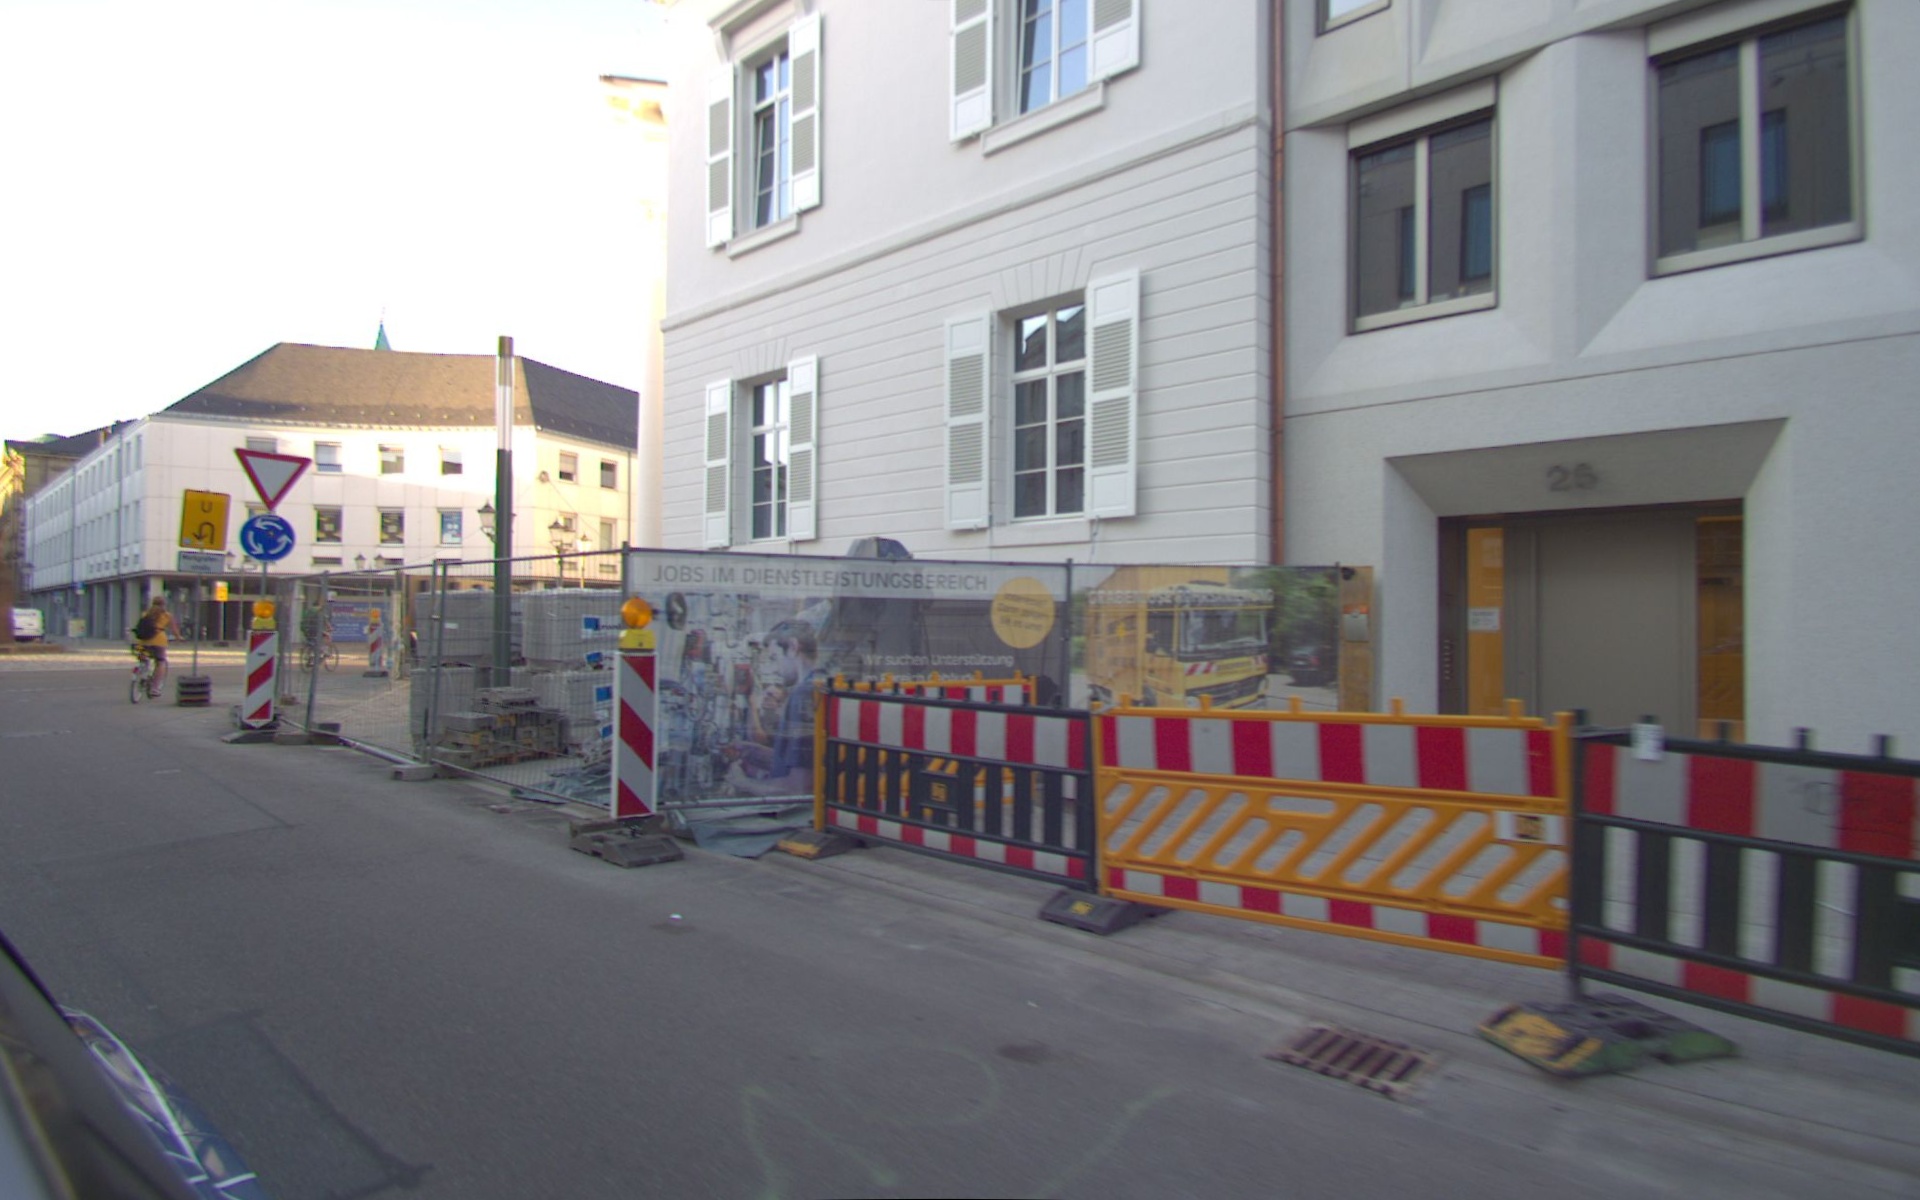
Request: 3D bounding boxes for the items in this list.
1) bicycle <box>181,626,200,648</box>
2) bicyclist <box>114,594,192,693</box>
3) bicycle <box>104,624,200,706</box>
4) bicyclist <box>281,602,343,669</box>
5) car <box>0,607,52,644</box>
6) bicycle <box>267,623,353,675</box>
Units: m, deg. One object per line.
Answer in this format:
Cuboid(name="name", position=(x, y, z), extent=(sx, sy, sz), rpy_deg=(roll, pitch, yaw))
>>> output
Cuboid(name="bicycle", position=(-42.989, 2.052, 56.499), extent=(1.949, 1.164, 0.474), rpy_deg=(-1, -2, 42))
Cuboid(name="bicyclist", position=(-12.972, 0.690, 16.299), extent=(0.785, 1.544, 0.977), rpy_deg=(1, -2, -28))
Cuboid(name="bicycle", position=(-12.983, 1.001, 16.323), extent=(0.785, 1.226, 2.240), rpy_deg=(1, -2, -28))
Cuboid(name="bicyclist", position=(-16.072, 0.867, 25.125), extent=(0.787, 1.615, 1.231), rpy_deg=(0, -1, -3))
Cuboid(name="car", position=(-49.166, 1.332, 52.593), extent=(4.451, 1.839, 1.997), rpy_deg=(-1, -2, 36))
Cuboid(name="bicycle", position=(-16.077, 1.190, 25.122), extent=(0.787, 1.226, 2.235), rpy_deg=(0, -1, -3))
